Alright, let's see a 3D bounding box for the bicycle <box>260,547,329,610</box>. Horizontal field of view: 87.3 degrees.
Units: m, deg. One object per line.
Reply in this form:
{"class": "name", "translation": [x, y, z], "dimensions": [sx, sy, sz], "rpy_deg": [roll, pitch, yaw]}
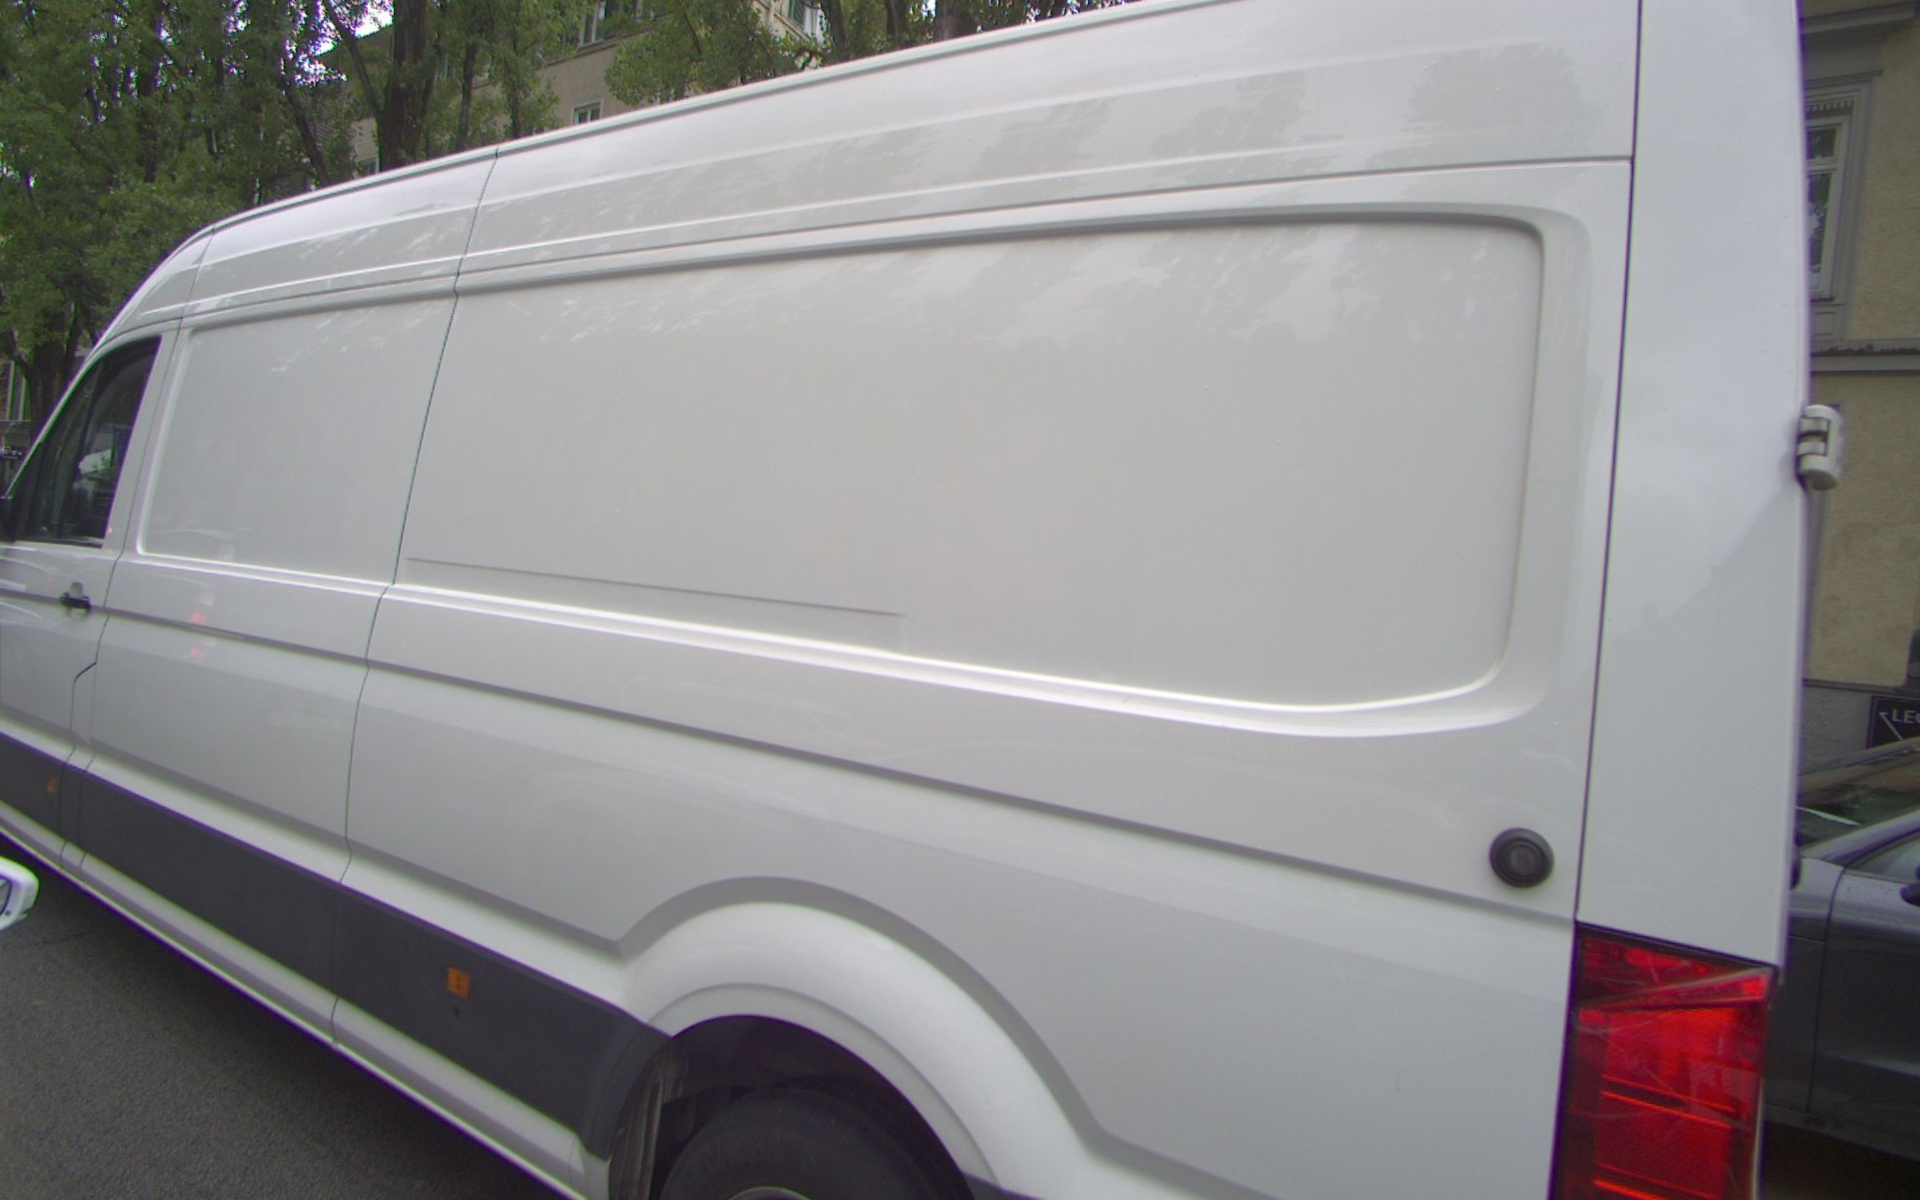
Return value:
{"class": "bicycle", "translation": [-12.067, -0.388, 18.222], "dimensions": [1.429, 1.009, 0.349], "rpy_deg": [6, 2, 28]}

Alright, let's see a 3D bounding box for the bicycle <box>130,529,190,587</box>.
{"class": "bicycle", "translation": [-15.821, -0.831, 19.885], "dimensions": [1.429, 1.009, 0.349], "rpy_deg": [6, 2, 28]}

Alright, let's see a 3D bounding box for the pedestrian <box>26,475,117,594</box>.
{"class": "pedestrian", "translation": [-14.402, -1.055, 16.306], "dimensions": [0.857, 1.795, 0.827], "rpy_deg": [7, 1, 37]}

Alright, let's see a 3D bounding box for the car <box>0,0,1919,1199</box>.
{"class": "car", "translation": [-1.400, 0.088, 3.320], "dimensions": [6.619, 2.522, 2.066], "rpy_deg": [7, 0, 32]}

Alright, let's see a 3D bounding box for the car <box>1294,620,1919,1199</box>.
{"class": "car", "translation": [3.658, 1.194, 3.433], "dimensions": [4.372, 1.657, 1.807], "rpy_deg": [7, -1, 30]}

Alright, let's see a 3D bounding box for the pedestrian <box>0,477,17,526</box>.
{"class": "pedestrian", "translation": [-35.175, -3.634, 36.804], "dimensions": [0.745, 1.707, 0.674], "rpy_deg": [6, 1, 27]}

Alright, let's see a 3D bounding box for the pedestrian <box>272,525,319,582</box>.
{"class": "pedestrian", "translation": [-17.087, -1.198, 25.869], "dimensions": [0.787, 1.340, 0.639], "rpy_deg": [7, 1, 31]}

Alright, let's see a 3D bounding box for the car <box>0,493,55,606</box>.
{"class": "car", "translation": [-14.860, -0.901, 14.634], "dimensions": [3.465, 1.510, 1.543], "rpy_deg": [7, -1, 32]}
